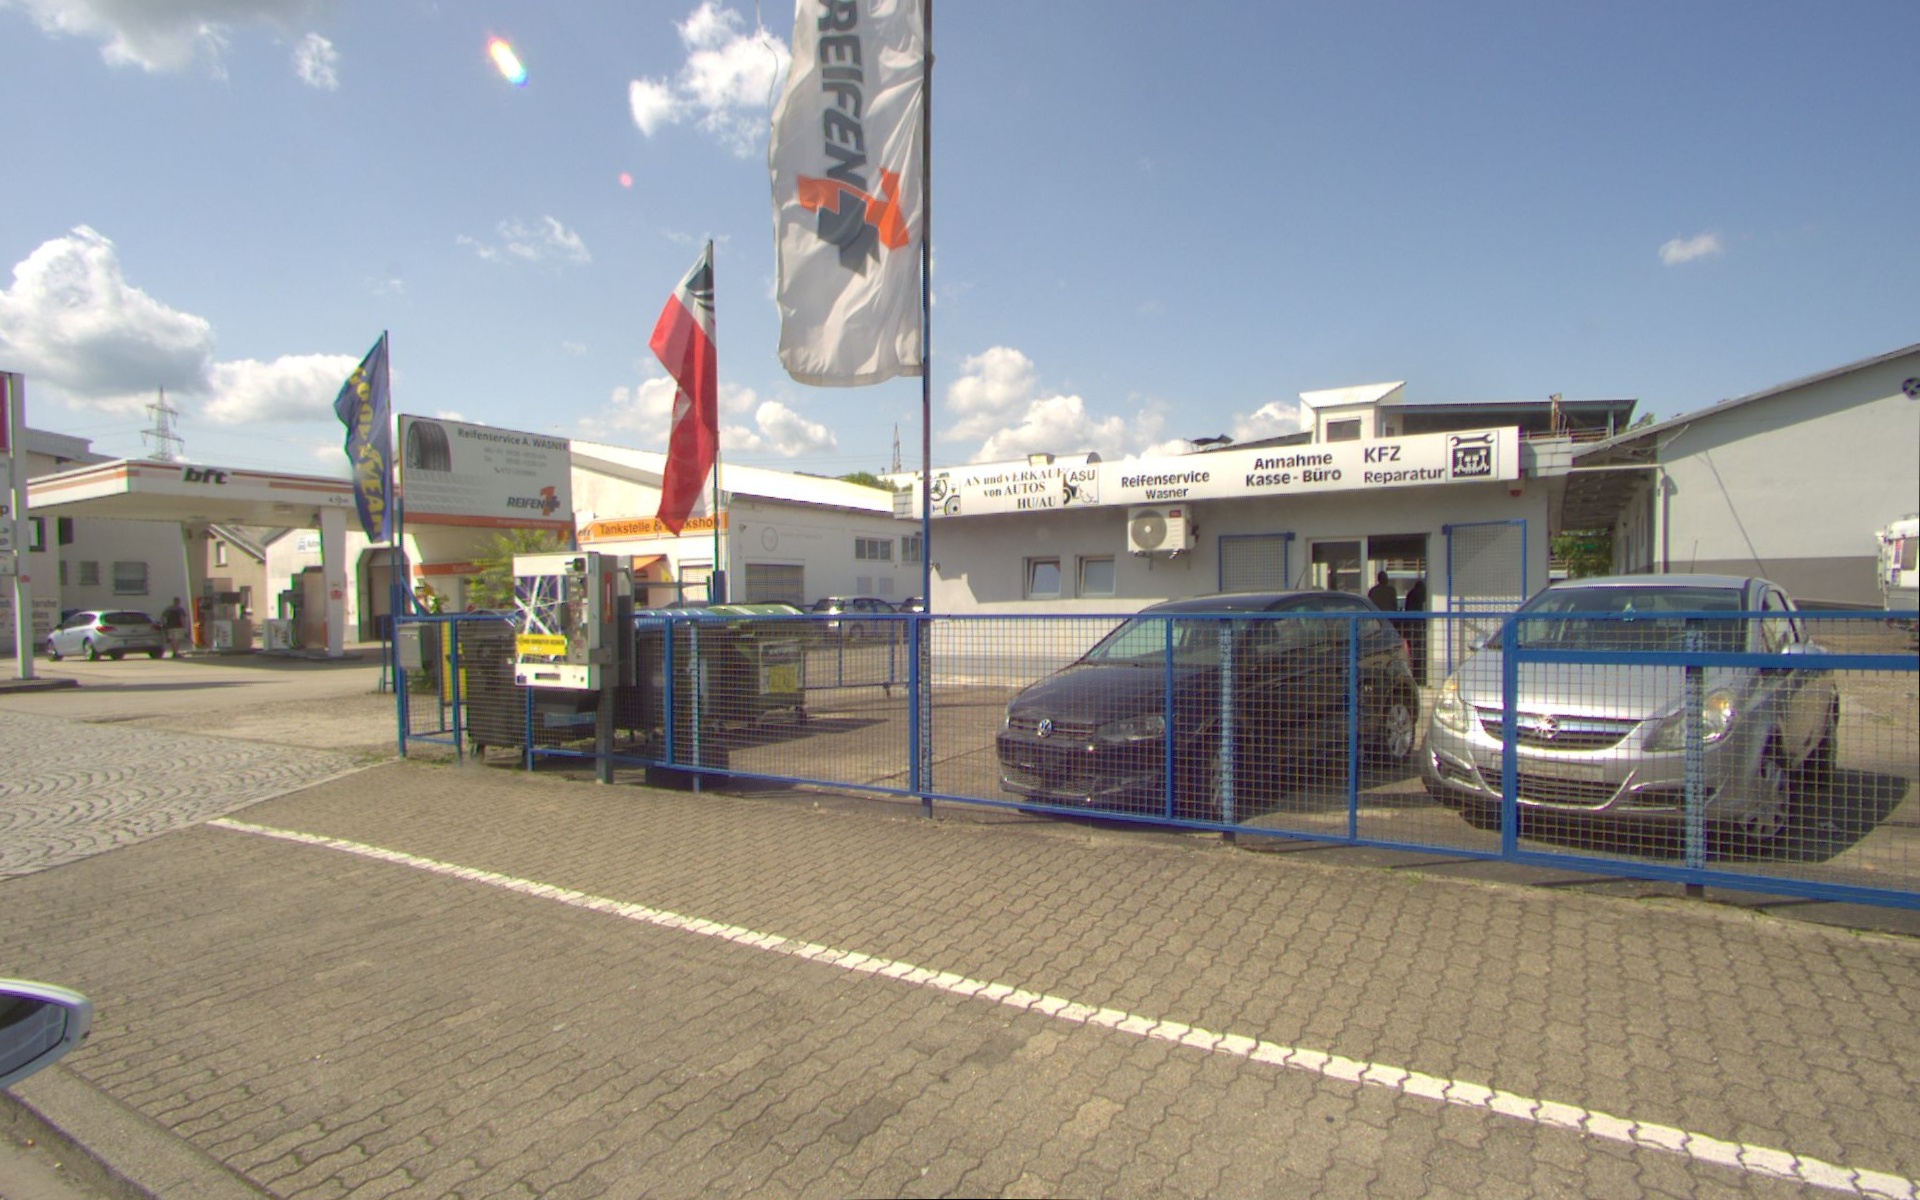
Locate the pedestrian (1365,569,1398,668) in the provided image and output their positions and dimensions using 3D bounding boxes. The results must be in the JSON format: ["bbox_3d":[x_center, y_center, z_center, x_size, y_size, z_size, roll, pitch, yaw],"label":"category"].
[{"bbox_3d":[7.411,0.325,17.594,0.480,1.710,0.499,0,1,30],"label":"pedestrian"}]

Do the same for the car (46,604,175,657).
[{"bbox_3d":[-25.829,0.889,30.434,3.950,1.499,1.829,-1,1,31],"label":"car"}]

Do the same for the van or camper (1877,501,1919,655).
[{"bbox_3d":[21.353,-0.459,19.328,4.983,3.002,2.276,0,1,31],"label":"van or camper"}]

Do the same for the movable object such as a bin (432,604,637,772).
[{"bbox_3d":[-4.124,0.784,9.748,1.434,1.473,1.224,0,1,31],"label":"movable object such as a bin"}]

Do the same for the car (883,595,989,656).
[{"bbox_3d":[-0.800,0.862,35.880,1.971,2.040,3.979,0,0,32],"label":"car"}]

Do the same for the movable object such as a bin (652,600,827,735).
[{"bbox_3d":[-2.598,0.743,11.903,1.433,1.473,1.427,0,1,31],"label":"movable object such as a bin"}]

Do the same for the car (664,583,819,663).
[{"bbox_3d":[-5.942,0.571,27.639,1.971,2.040,3.979,0,0,32],"label":"car"}]

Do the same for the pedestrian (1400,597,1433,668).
[{"bbox_3d":[7.986,0.562,17.530,0.480,1.229,0.499,0,1,30],"label":"pedestrian"}]

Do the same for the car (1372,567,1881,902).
[{"bbox_3d":[4.510,0.588,6.516,4.104,1.499,1.787,-1,0,-42],"label":"car"}]

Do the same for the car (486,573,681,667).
[{"bbox_3d":[-8.907,0.435,23.984,1.971,2.040,3.979,0,0,32],"label":"car"}]

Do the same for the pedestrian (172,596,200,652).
[{"bbox_3d":[-23.735,0.729,30.715,0.628,1.705,0.618,-1,1,-36],"label":"pedestrian"}]

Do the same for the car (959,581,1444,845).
[{"bbox_3d":[2.023,0.627,7.652,3.962,1.499,1.705,-1,1,-43],"label":"car"}]

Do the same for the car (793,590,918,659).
[{"bbox_3d":[-3.260,0.727,31.991,1.971,2.040,3.979,0,0,32],"label":"car"}]

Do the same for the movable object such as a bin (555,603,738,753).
[{"bbox_3d":[-3.364,0.776,10.788,1.434,1.473,1.224,0,1,31],"label":"movable object such as a bin"}]
